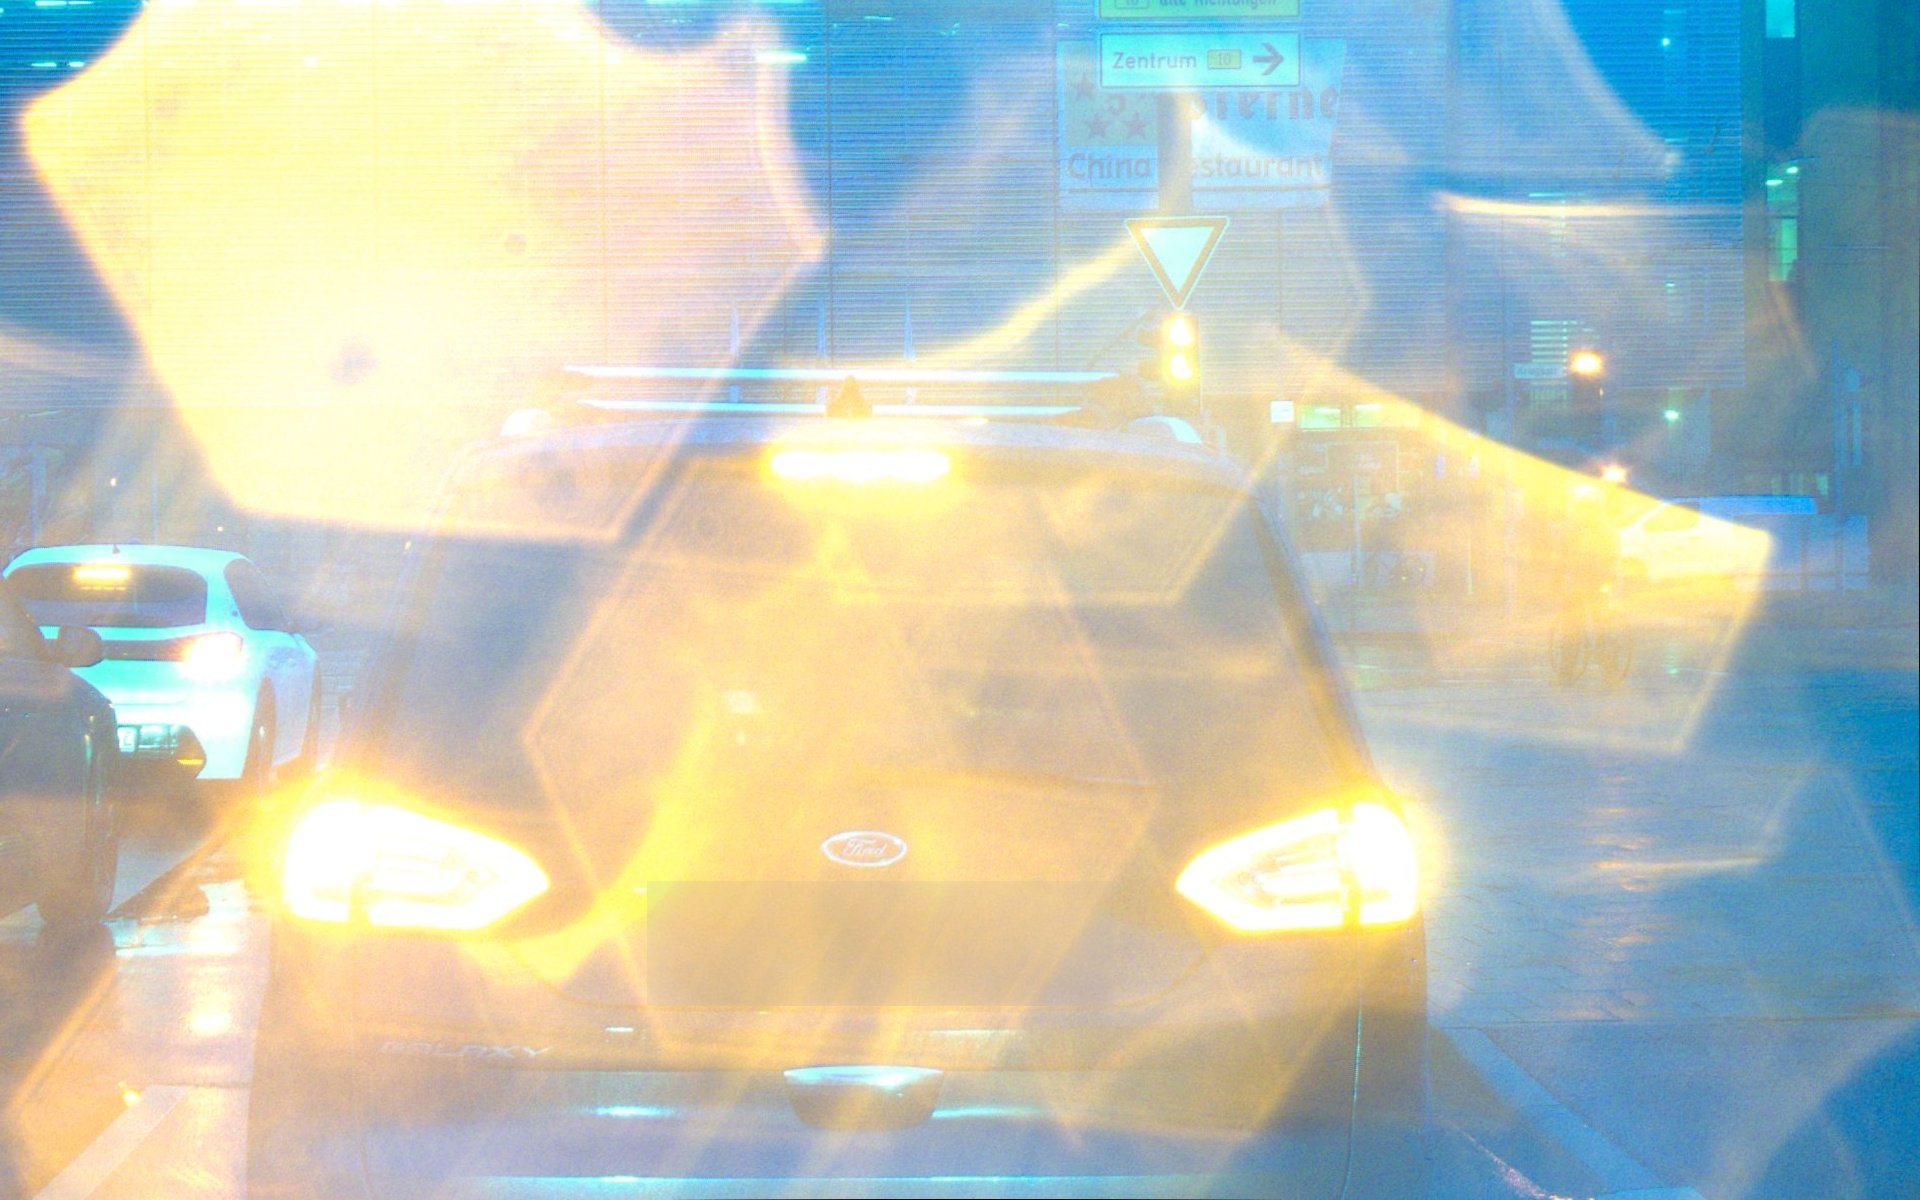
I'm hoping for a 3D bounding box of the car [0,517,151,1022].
[{"bbox_3d":[-3.934,0.517,11.565,1.752,1.568,4.001,-1,1,-4],"label":"car"}]

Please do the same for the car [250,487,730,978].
[{"bbox_3d":[-1.782,0.436,13.743,1.636,1.691,3.671,1,1,-5],"label":"car"}]

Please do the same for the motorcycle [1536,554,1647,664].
[{"bbox_3d":[5.803,0.075,31.653,0.853,0.968,1.581,0,1,5],"label":"motorcycle"}]

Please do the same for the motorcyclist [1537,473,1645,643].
[{"bbox_3d":[5.804,-0.394,31.660,0.868,1.529,1.108,0,1,5],"label":"motorcyclist"}]

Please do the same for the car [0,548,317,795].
[{"bbox_3d":[-4.532,0.331,19.548,1.540,1.247,4.069,0,1,-8],"label":"car"}]

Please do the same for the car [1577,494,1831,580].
[{"bbox_3d":[14.299,-1.221,66.202,4.418,1.589,1.800,-1,1,-7],"label":"car"}]

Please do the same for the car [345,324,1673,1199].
[{"bbox_3d":[-0.042,0.480,6.700,1.735,1.732,4.247,2,1,-3],"label":"car"}]

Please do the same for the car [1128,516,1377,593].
[{"bbox_3d":[5.521,-0.876,65.226,4.418,1.385,1.800,-1,1,-7],"label":"car"}]
